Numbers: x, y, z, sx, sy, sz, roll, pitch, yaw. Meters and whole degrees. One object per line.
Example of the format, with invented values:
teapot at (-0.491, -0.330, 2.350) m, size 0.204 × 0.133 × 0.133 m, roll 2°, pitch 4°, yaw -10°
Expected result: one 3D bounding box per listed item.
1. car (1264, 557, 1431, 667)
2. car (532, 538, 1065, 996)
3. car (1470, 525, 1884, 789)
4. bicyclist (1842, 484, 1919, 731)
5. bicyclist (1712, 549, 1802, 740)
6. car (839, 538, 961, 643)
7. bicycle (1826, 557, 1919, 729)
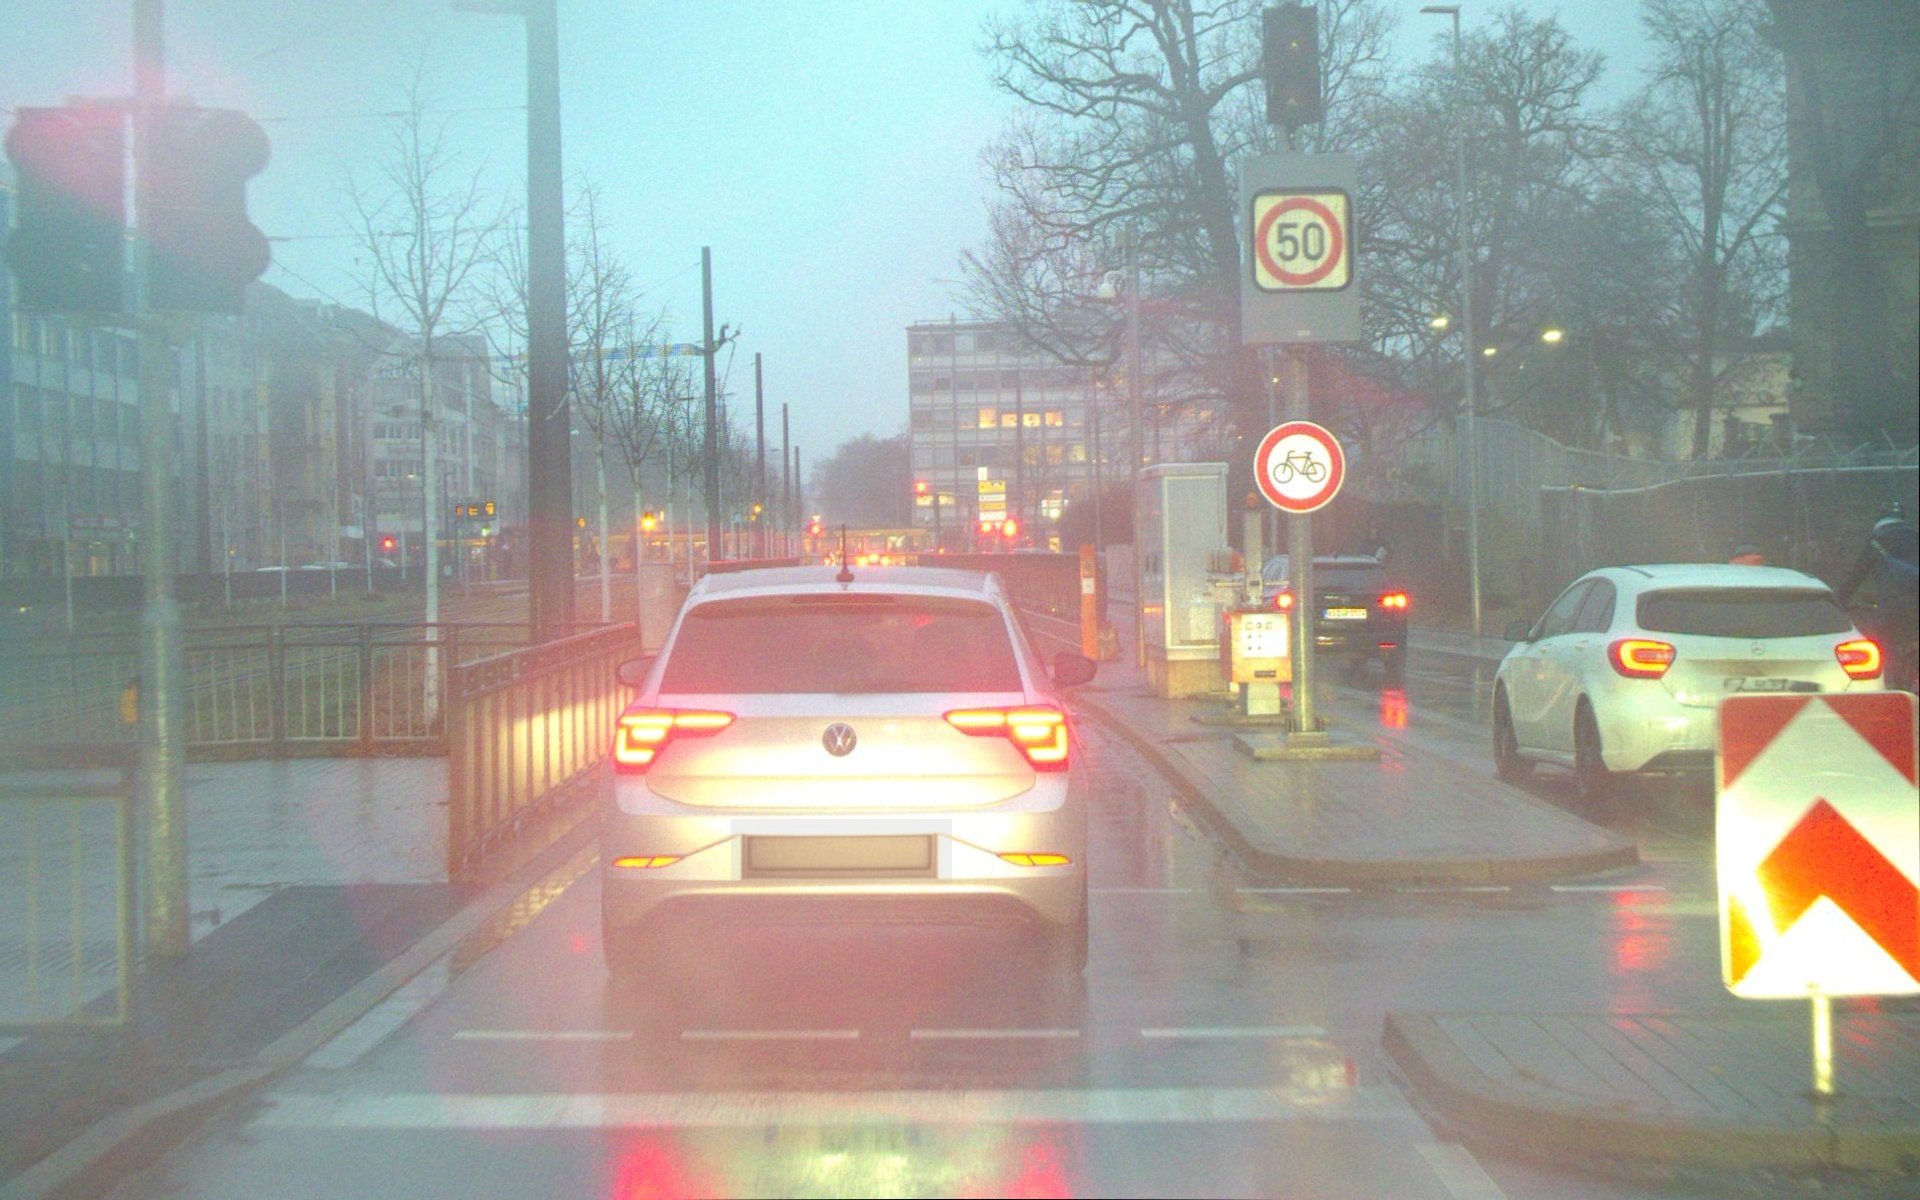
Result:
car at (4.797, 0.135, 42.981) m, size 1.623 × 1.295 × 4.000 m, roll 1°, pitch 0°, yaw 0°
car at (-0.531, 0.551, 13.228) m, size 1.722 × 1.474 × 4.000 m, roll 1°, pitch 0°, yaw 0°
car at (4.359, 0.315, 21.477) m, size 1.722 × 1.474 × 4.000 m, roll 1°, pitch 0°, yaw 0°
bicyclist at (6.820, 0.044, 25.065) m, size 0.500 × 1.761 × 0.837 m, roll -1°, pitch 1°, yaw -3°
bicyclist at (6.753, 0.364, 29.157) m, size 0.500 × 1.586 × 0.837 m, roll -1°, pitch 1°, yaw -3°
car at (-0.854, -0.143, 50.887) m, size 1.722 × 1.474 × 4.000 m, roll 1°, pitch 0°, yaw 0°
bicycle at (6.833, 0.289, 25.020) m, size 0.411 × 1.181 × 2.029 m, roll -1°, pitch 1°, yaw -3°
